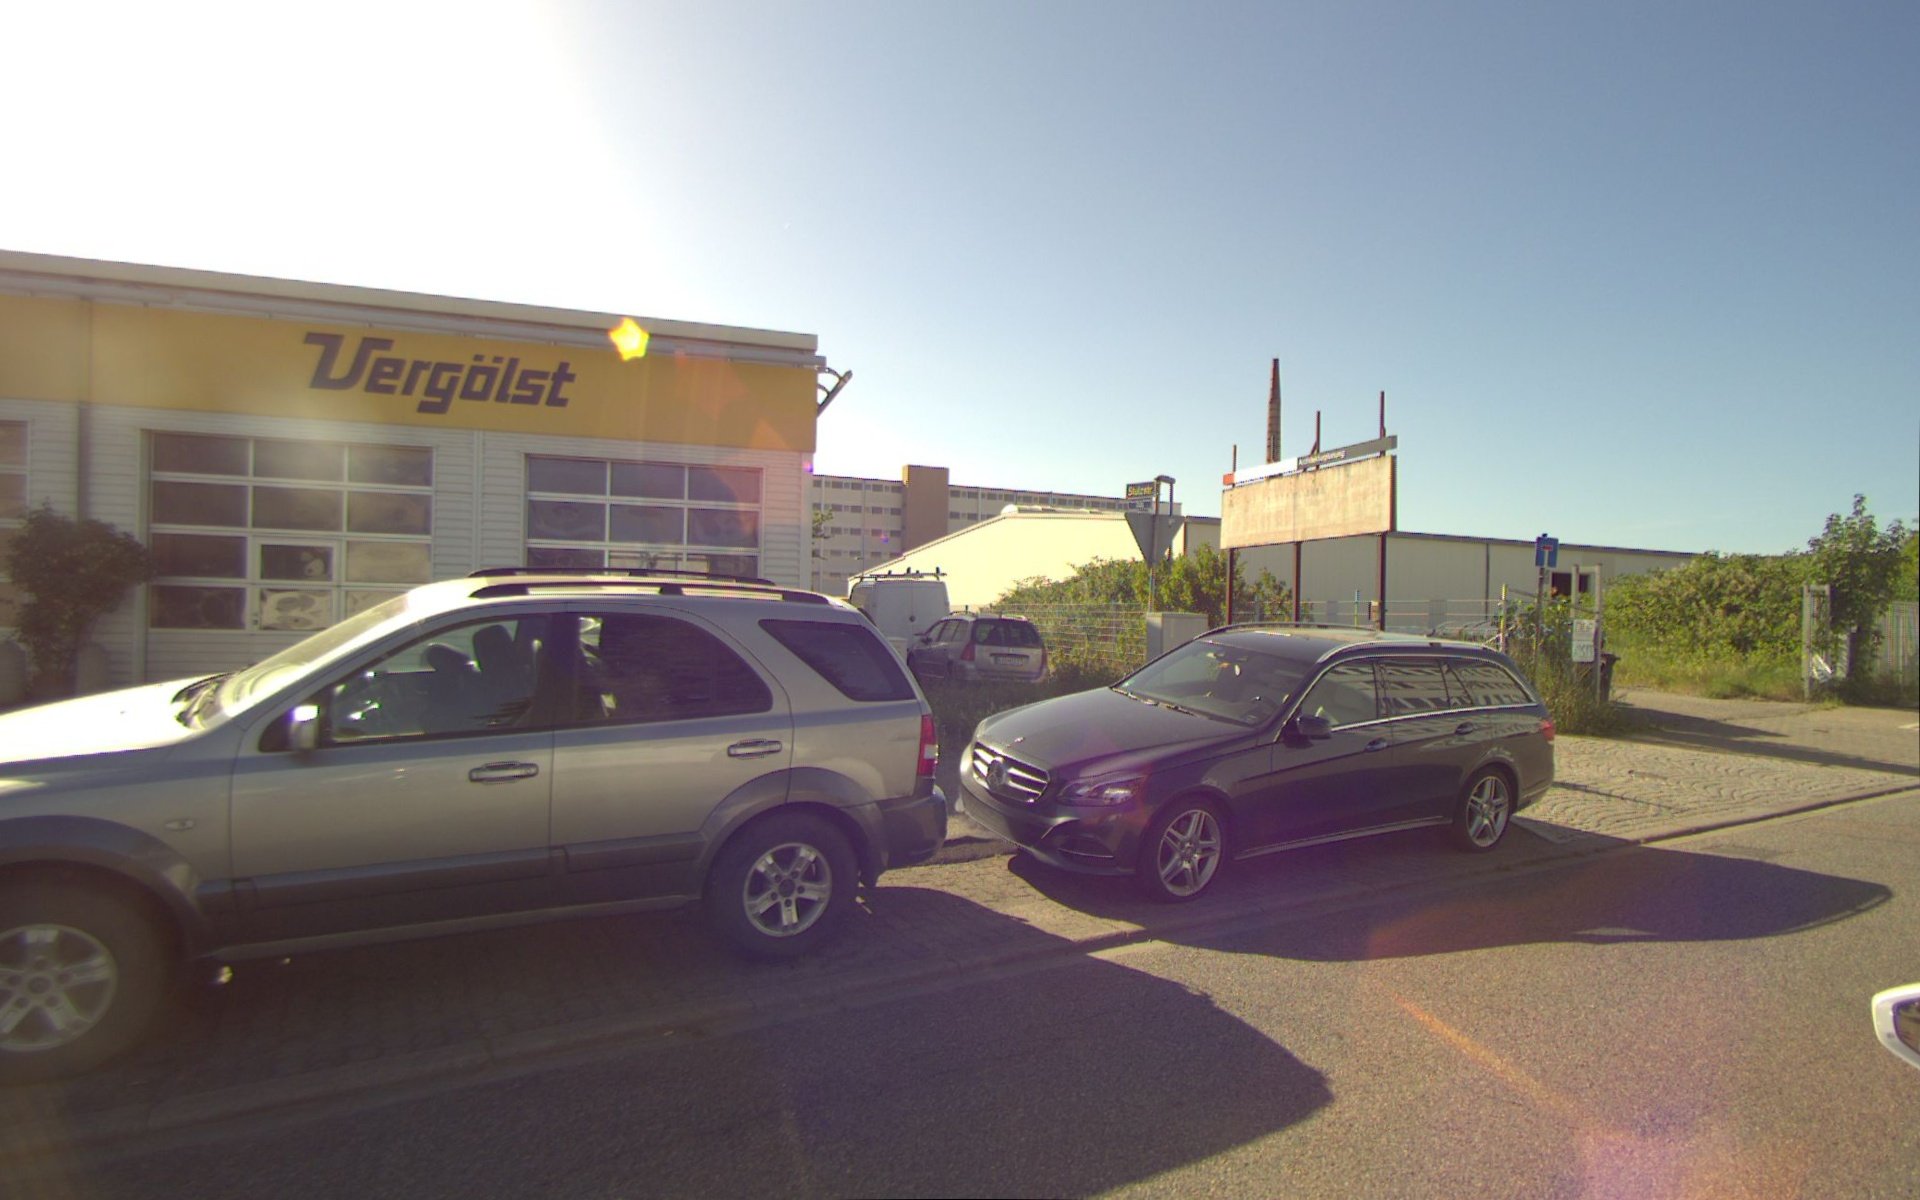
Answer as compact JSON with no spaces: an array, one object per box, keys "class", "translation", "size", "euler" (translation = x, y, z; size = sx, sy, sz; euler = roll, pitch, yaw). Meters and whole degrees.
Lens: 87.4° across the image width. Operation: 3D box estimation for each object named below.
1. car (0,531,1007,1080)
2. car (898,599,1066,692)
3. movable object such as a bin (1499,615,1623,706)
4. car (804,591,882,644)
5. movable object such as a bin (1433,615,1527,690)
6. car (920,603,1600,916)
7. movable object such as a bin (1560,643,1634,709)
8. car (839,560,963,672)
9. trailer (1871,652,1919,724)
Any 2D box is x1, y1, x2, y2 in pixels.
[{"class":"car","translation":[-2.255,0.681,4.844],"size":[4.517,1.761,1.985],"euler":[2,3,-28]},{"class":"car","translation":[0.288,0.815,19.550],"size":[1.887,1.595,4.152],"euler":[2,-1,-20]},{"class":"movable object such as a bin","translation":[10.228,0.995,17.175],"size":[1.074,1.424,1.623],"euler":[2,0,-2]},{"class":"car","translation":[-3.939,0.550,33.305],"size":[1.819,1.595,4.156],"euler":[2,-1,-17]},{"class":"movable object such as a bin","translation":[10.447,1.030,20.248],"size":[1.074,1.424,1.466],"euler":[2,0,-2]},{"class":"car","translation":[2.335,0.920,7.320],"size":[4.944,1.530,1.791],"euler":[2,3,-30]},{"class":"movable object such as a bin","translation":[10.076,1.196,15.911],"size":[0.735,0.985,0.616],"euler":[3,-1,-6]},{"class":"car","translation":[-1.619,0.380,25.159],"size":[2.168,2.438,5.443],"euler":[2,-1,-13]},{"class":"trailer","translation":[18.543,1.563,17.419],"size":[6.174,1.094,2.363],"euler":[1,3,-31]}]
